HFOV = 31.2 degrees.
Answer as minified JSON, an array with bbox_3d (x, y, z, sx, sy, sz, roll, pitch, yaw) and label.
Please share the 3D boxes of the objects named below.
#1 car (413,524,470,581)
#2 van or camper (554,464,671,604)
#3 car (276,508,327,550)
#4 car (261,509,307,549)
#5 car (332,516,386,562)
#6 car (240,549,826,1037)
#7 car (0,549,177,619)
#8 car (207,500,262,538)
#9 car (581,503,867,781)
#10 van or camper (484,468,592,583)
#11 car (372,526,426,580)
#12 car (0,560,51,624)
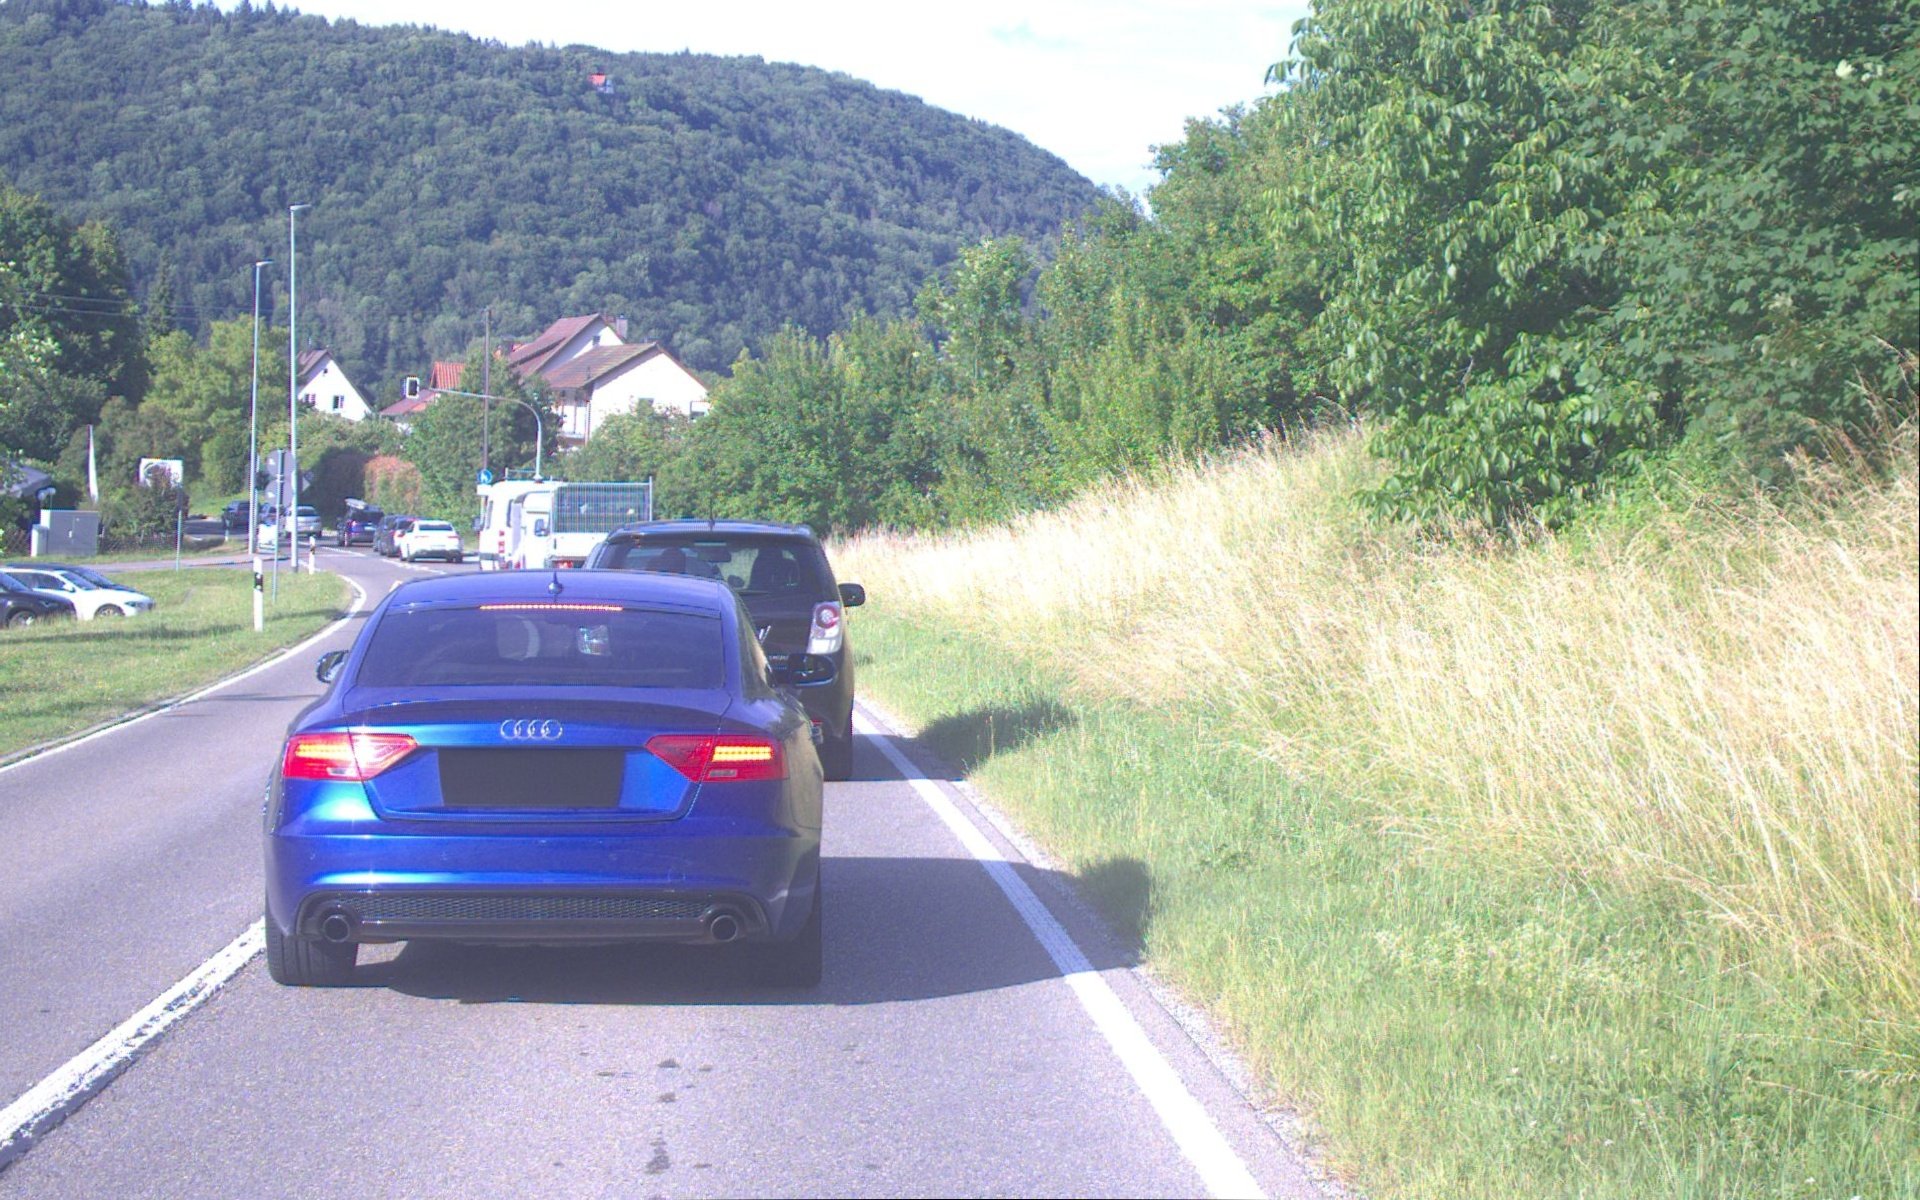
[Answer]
[{"bbox_3d":[-17.657,-1.612,116.955,1.659,1.918,4.001,-1,1,-12],"label":"car"},{"bbox_3d":[-6.528,-1.220,64.203,2.051,2.497,5.813,0,1,-7],"label":"van or camper"},{"bbox_3d":[-30.704,-3.310,160.197,1.676,1.918,4.001,-1,1,-20],"label":"car"},{"bbox_3d":[-33.230,-3.470,168.895,1.676,1.918,4.001,-1,1,-19],"label":"car"},{"bbox_3d":[-25.213,-2.551,144.168,1.676,1.918,4.001,-1,1,-18],"label":"car"},{"bbox_3d":[-1.396,0.556,12.077,1.742,1.445,3.517,0,1,-4],"label":"car"},{"bbox_3d":[-21.195,-0.391,83.222,4.036,1.655,1.655,0,1,6],"label":"car"},{"bbox_3d":[-37.447,-4.174,177.395,1.954,1.918,4.001,-1,1,-24],"label":"car"},{"bbox_3d":[-1.600,0.220,22.305,1.645,1.619,3.518,2,1,-7],"label":"car"},{"bbox_3d":[-10.372,-1.811,84.147,2.280,2.704,5.769,-1,1,-10],"label":"van or camper"},{"bbox_3d":[-20.447,-1.714,125.226,1.659,1.918,4.001,-1,1,-14],"label":"car"},{"bbox_3d":[-22.939,-0.186,78.920,3.713,1.434,1.509,0,1,6],"label":"car"}]
